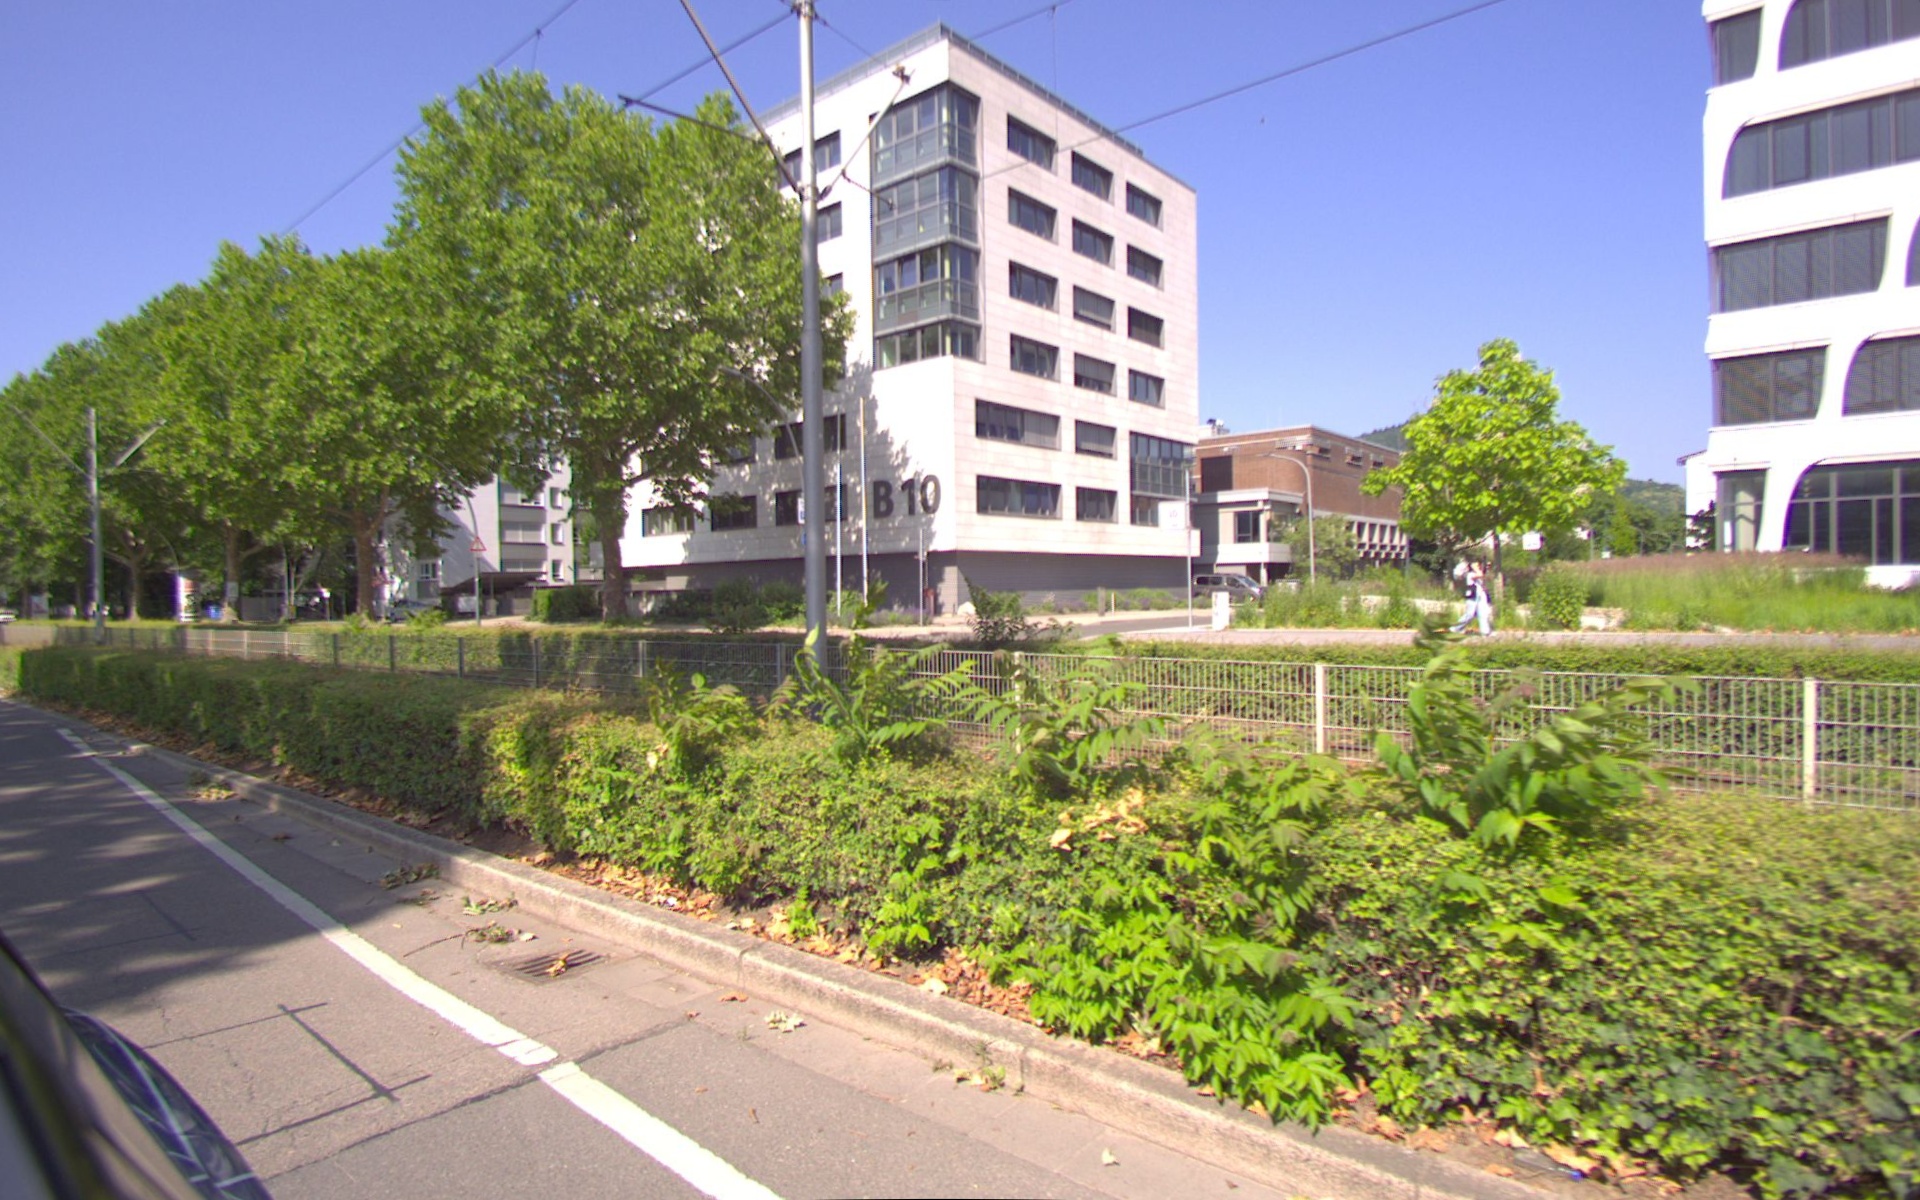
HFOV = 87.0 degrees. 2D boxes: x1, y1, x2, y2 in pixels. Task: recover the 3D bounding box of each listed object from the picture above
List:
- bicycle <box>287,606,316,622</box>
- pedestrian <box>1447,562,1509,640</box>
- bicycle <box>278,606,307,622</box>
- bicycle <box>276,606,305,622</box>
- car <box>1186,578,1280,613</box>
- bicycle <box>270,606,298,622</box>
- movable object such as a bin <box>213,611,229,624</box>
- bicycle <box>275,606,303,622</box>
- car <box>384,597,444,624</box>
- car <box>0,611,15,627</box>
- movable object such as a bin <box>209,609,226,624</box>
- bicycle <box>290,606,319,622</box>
[{"bbox_3d":[-49.184,1.040,75.600,0.421,1.111,1.749,-1,0,38],"label":"bicycle"},{"bbox_3d":[10.960,0.011,21.418,1.014,1.600,0.713,-1,1,41],"label":"pedestrian"},{"bbox_3d":[-50.391,1.057,76.401,0.421,1.111,1.749,-1,0,38],"label":"bicycle"},{"bbox_3d":[-50.727,1.062,76.683,0.421,1.111,1.749,-1,0,38],"label":"bicycle"},{"bbox_3d":[15.119,-0.242,56.119,4.615,1.828,1.973,-1,1,41],"label":"car"},{"bbox_3d":[-51.902,1.078,77.690,0.421,1.111,1.749,-1,0,38],"label":"bicycle"},{"bbox_3d":[-60.374,1.402,82.681,0.545,1.044,0.887,-1,0,38],"label":"movable object such as a bin"},{"bbox_3d":[-51.064,1.066,77.001,0.421,1.111,1.749,-1,0,38],"label":"bicycle"},{"bbox_3d":[-34.014,0.676,62.976,4.344,1.561,1.725,-1,0,39],"label":"car"},{"bbox_3d":[-93.614,1.872,98.593,3.908,1.502,1.797,-1,-2,39],"label":"car"},{"bbox_3d":[-61.049,1.386,83.218,1.098,1.198,0.887,-1,0,39],"label":"movable object such as a bin"},{"bbox_3d":[-48.794,1.034,75.292,0.421,1.111,1.749,-1,0,38],"label":"bicycle"}]
